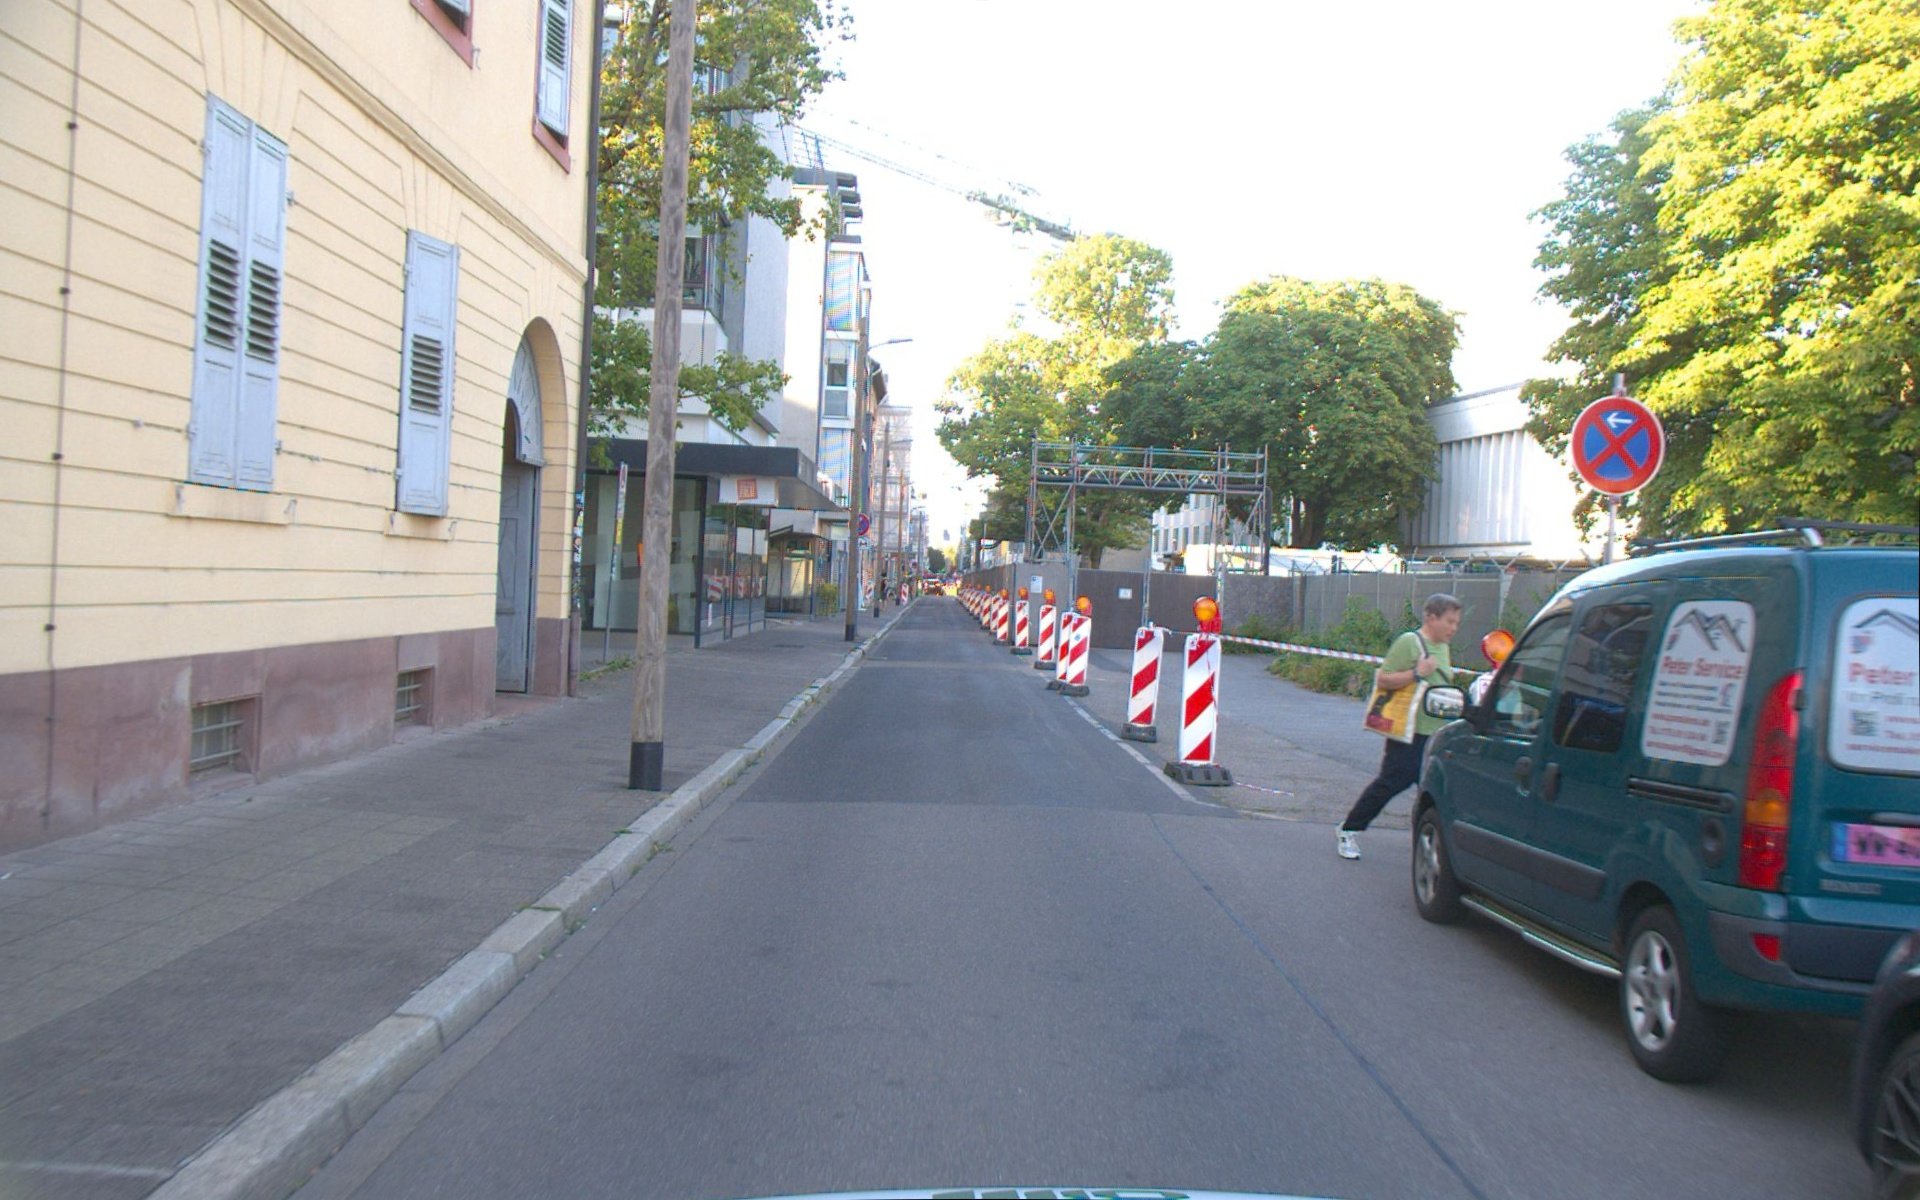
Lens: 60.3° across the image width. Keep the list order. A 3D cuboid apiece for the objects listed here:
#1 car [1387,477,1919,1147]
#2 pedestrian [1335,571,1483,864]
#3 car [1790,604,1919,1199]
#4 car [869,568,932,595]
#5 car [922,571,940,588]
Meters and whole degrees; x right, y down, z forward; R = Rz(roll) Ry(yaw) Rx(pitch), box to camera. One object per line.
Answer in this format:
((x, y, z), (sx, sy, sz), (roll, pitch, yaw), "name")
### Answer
((3.129, 0.607, 6.709), (1.678, 1.881, 4.022), (3, 1, 0), "car")
((2.684, 0.673, 9.958), (0.601, 1.657, 0.818), (3, 0, 2), "pedestrian")
((3.089, 0.825, 2.396), (1.658, 1.485, 4.099), (3, 1, 0), "car")
((-3.591, -1.128, 100.222), (3.665, 1.485, 1.698), (2, 0, 2), "car")
((-3.004, -2.136, 172.888), (1.821, 1.690, 4.000), (3, 1, -1), "car")
